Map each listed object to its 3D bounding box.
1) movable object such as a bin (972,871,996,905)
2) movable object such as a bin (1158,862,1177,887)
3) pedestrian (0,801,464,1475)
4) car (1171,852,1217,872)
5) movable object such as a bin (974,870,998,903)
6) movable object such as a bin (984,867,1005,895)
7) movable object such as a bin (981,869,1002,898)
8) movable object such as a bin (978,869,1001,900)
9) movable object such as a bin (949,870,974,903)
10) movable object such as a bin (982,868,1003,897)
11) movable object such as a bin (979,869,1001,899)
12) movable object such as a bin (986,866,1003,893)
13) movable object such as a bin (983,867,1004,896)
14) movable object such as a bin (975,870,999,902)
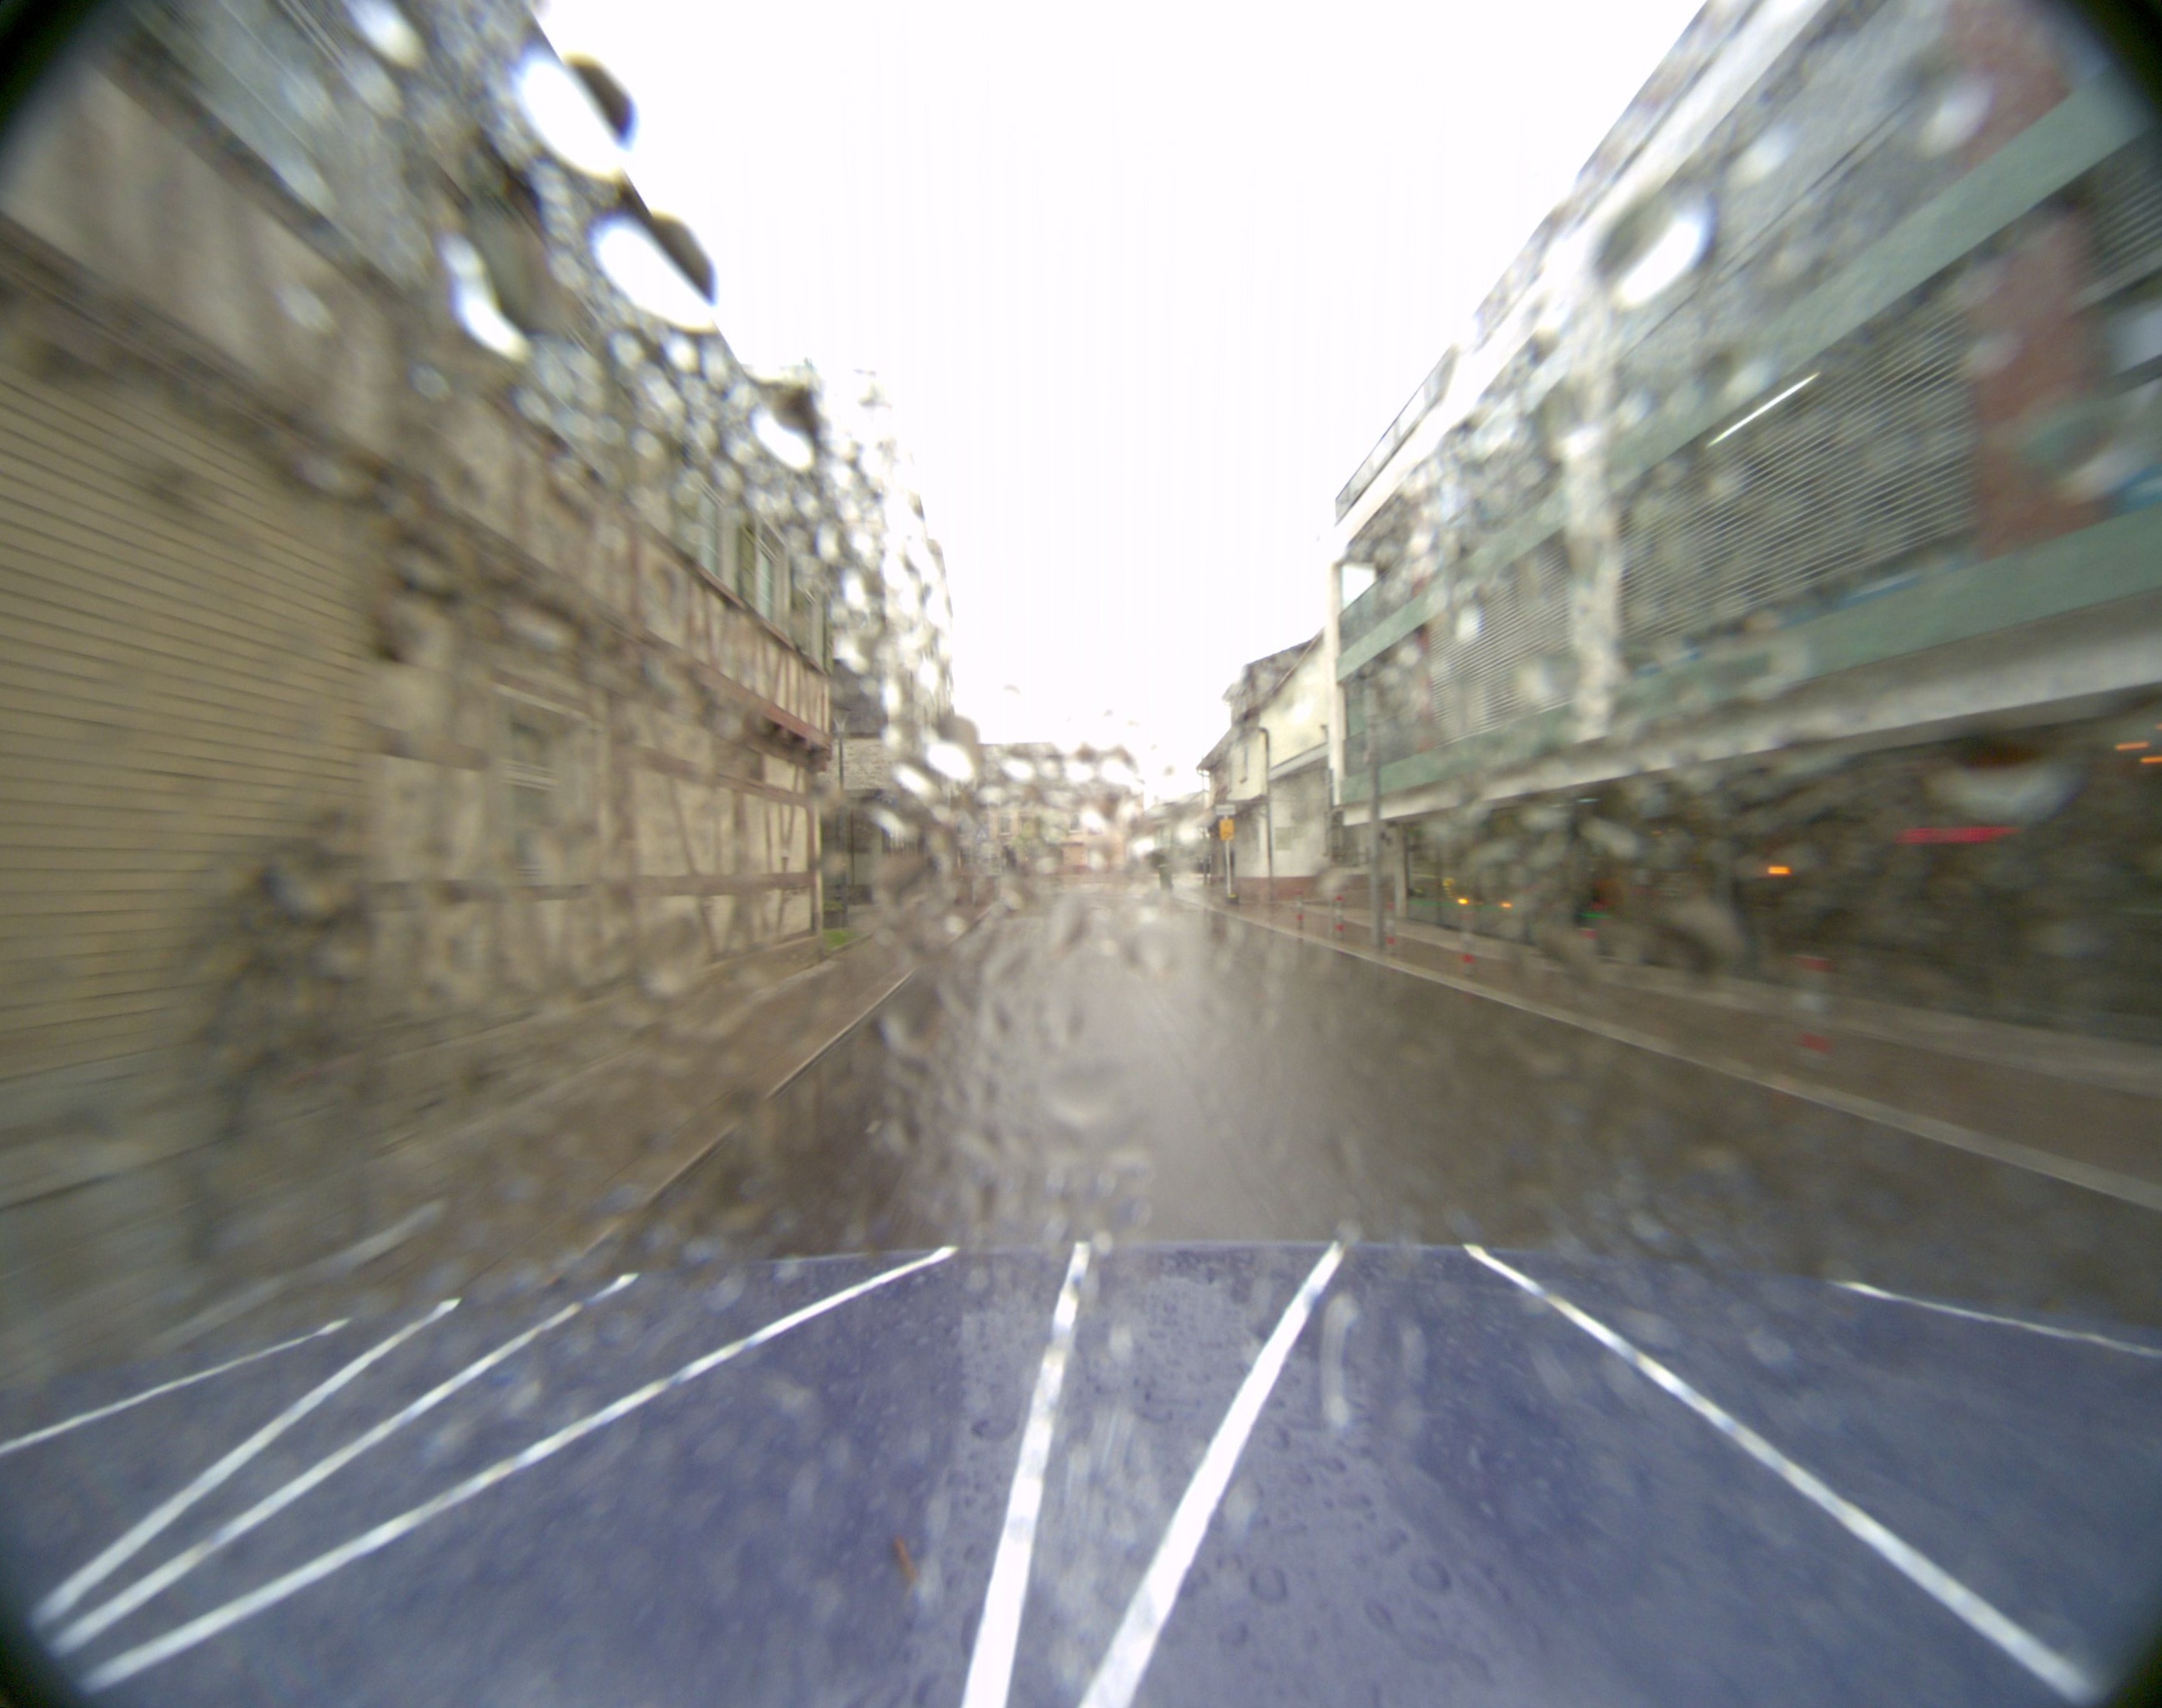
[{"bbox_3d":[-3.242,1.134,25.439,0.768,1.089,0.581,0,1,-3],"label":"movable object such as a bin"},{"bbox_3d":[3.957,0.920,34.897,0.689,1.075,0.760,-4,1,-4],"label":"movable object such as a bin"},{"bbox_3d":[-2.859,0.794,2.574,0.812,1.874,0.907,0,0,-4],"label":"pedestrian"},{"bbox_3d":[11.516,0.821,77.324,4.480,2.002,2.002,0,0,14],"label":"car"},{"bbox_3d":[-3.279,1.120,26.211,0.768,1.089,0.581,0,1,-3],"label":"movable object such as a bin"},{"bbox_3d":[-3.458,1.074,30.413,0.768,1.089,0.581,0,1,-3],"label":"movable object such as a bin"},{"bbox_3d":[-3.364,1.102,28.625,0.768,1.089,0.581,0,1,-3],"label":"movable object such as a bin"},{"bbox_3d":[-3.309,1.102,27.424,0.768,1.089,0.581,0,1,-3],"label":"movable object such as a bin"},{"bbox_3d":[-4.058,1.111,25.909,0.768,1.089,0.626,0,1,-3],"label":"movable object such as a bin"},{"bbox_3d":[-3.405,1.095,29.224,0.768,1.089,0.581,0,1,-3],"label":"movable object such as a bin"},{"bbox_3d":[-3.341,1.098,28.016,0.768,1.089,0.581,0,1,-3],"label":"movable object such as a bin"},{"bbox_3d":[-3.595,1.068,31.628,0.665,1.089,0.551,0,1,-4],"label":"movable object such as a bin"},{"bbox_3d":[-3.439,1.070,29.810,0.768,1.089,0.581,0,1,-3],"label":"movable object such as a bin"},{"bbox_3d":[-3.309,1.113,26.803,0.768,1.089,0.581,0,1,-3],"label":"movable object such as a bin"}]
